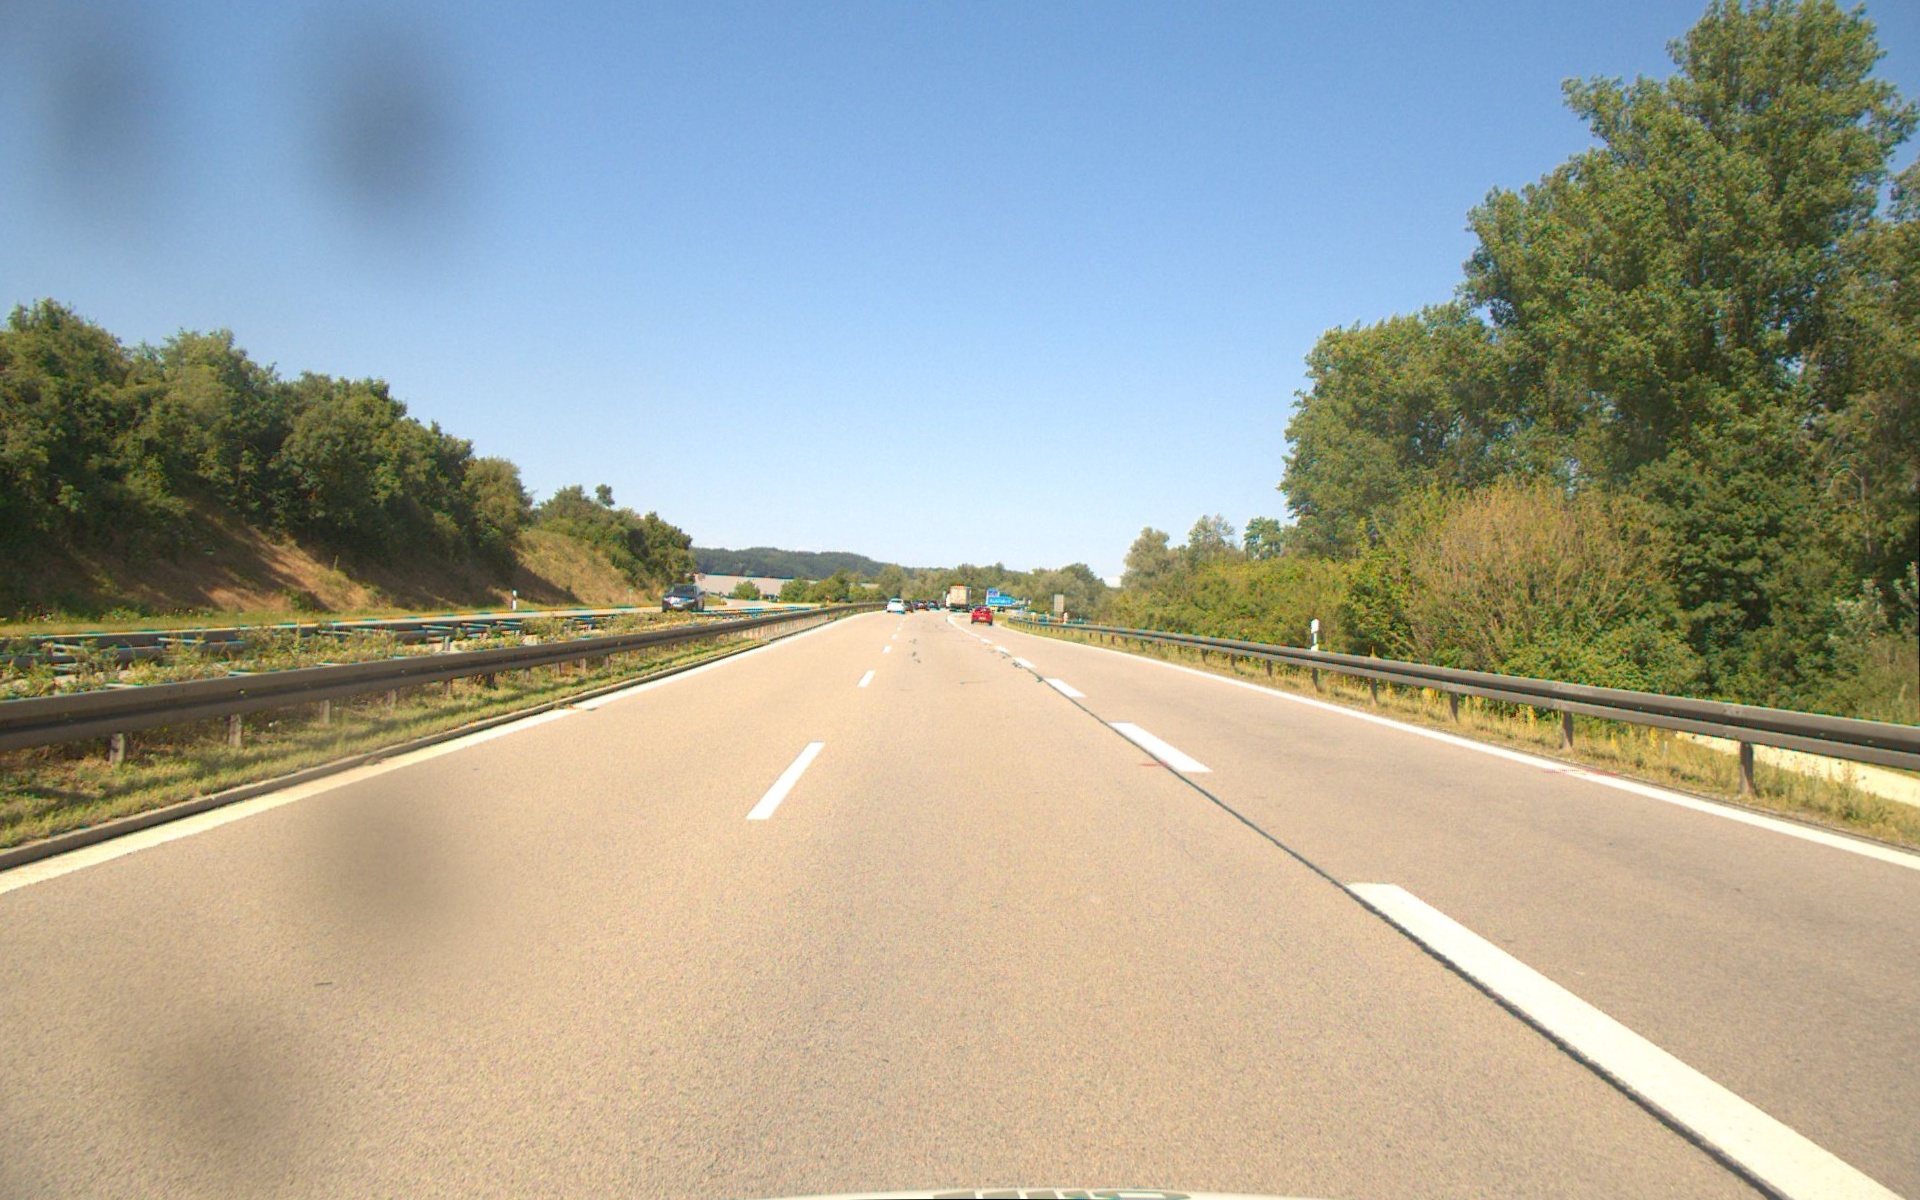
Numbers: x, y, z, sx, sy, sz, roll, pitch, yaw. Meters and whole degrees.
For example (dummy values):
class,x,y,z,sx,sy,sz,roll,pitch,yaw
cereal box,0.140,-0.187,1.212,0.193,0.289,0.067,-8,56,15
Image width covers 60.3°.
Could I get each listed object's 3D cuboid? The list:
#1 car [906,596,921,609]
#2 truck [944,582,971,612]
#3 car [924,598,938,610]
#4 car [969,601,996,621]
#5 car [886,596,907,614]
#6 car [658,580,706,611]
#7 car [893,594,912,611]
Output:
class,x,y,z,sx,sy,sz,roll,pitch,yaw
car,-6.388,0.356,228.981,1.953,1.780,3.999,3,0,-2
truck,-0.351,-0.526,255.919,3.758,4.474,11.472,1,0,1
car,-4.506,0.671,258.442,1.952,1.780,4.000,3,0,1
car,1.850,0.908,133.921,1.747,1.456,4.002,5,-1,6
car,-6.412,0.556,168.325,2.020,1.653,3.998,1,-2,-1
car,-15.726,-0.231,93.768,1.953,1.673,5.082,1,-1,-1
car,-6.488,0.261,186.551,1.953,1.780,3.999,3,0,-2
